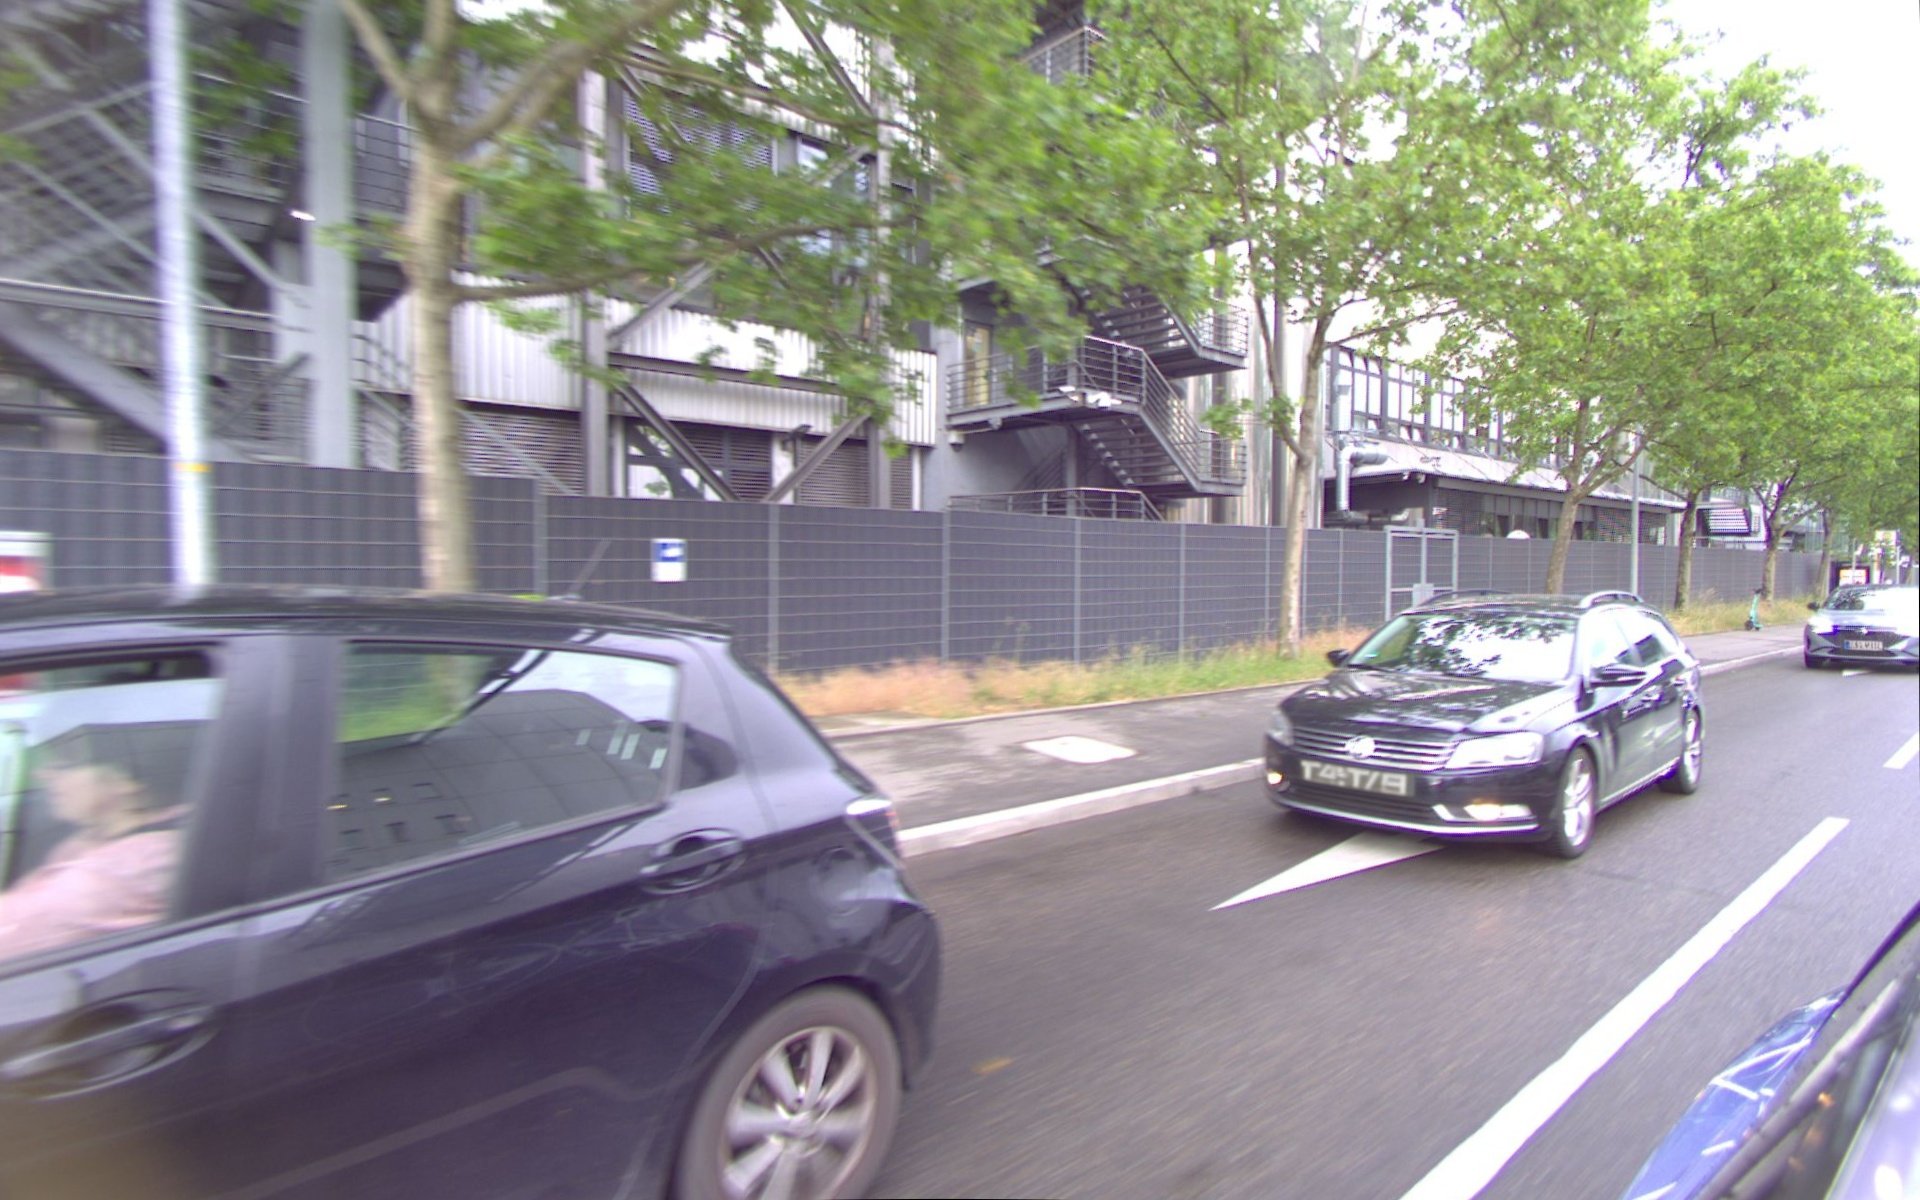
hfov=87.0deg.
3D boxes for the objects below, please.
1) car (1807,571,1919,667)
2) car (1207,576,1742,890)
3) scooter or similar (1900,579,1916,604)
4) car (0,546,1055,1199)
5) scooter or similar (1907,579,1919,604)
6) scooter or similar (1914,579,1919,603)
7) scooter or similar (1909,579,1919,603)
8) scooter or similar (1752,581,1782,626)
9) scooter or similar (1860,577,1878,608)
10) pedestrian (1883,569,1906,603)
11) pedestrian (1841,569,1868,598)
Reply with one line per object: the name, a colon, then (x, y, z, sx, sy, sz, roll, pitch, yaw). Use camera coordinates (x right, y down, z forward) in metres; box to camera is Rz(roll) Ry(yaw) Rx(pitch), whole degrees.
car: (17.813, 0.304, 19.359, 4.005, 1.639, 1.949, -1, 3, -43)
car: (3.824, 0.585, 7.037, 4.706, 1.471, 1.840, -1, 1, -43)
scooter or similar: (50.419, -0.468, 53.811, 1.277, 1.311, 0.437, -1, 2, -39)
car: (-1.833, 0.660, 1.930, 4.010, 1.512, 1.877, -1, 3, -45)
scooter or similar: (51.568, -0.458, 54.612, 1.277, 1.311, 0.437, -1, 2, -39)
scooter or similar: (54.461, -0.517, 57.218, 1.341, 1.311, 0.437, -1, 2, -34)
scooter or similar: (53.038, -0.491, 56.062, 1.277, 1.311, 0.437, -1, 2, -39)
scooter or similar: (23.278, 0.087, 29.187, 1.087, 1.285, 0.330, -1, 2, -33)
scooter or similar: (39.230, -0.328, 43.658, 1.223, 1.324, 0.329, -1, 2, -37)
pedestrian: (48.451, -0.733, 52.474, 0.717, 1.731, 0.777, -1, 2, -42)
pedestrian: (44.854, -0.840, 50.730, 0.686, 1.433, 0.932, -1, 2, -42)
